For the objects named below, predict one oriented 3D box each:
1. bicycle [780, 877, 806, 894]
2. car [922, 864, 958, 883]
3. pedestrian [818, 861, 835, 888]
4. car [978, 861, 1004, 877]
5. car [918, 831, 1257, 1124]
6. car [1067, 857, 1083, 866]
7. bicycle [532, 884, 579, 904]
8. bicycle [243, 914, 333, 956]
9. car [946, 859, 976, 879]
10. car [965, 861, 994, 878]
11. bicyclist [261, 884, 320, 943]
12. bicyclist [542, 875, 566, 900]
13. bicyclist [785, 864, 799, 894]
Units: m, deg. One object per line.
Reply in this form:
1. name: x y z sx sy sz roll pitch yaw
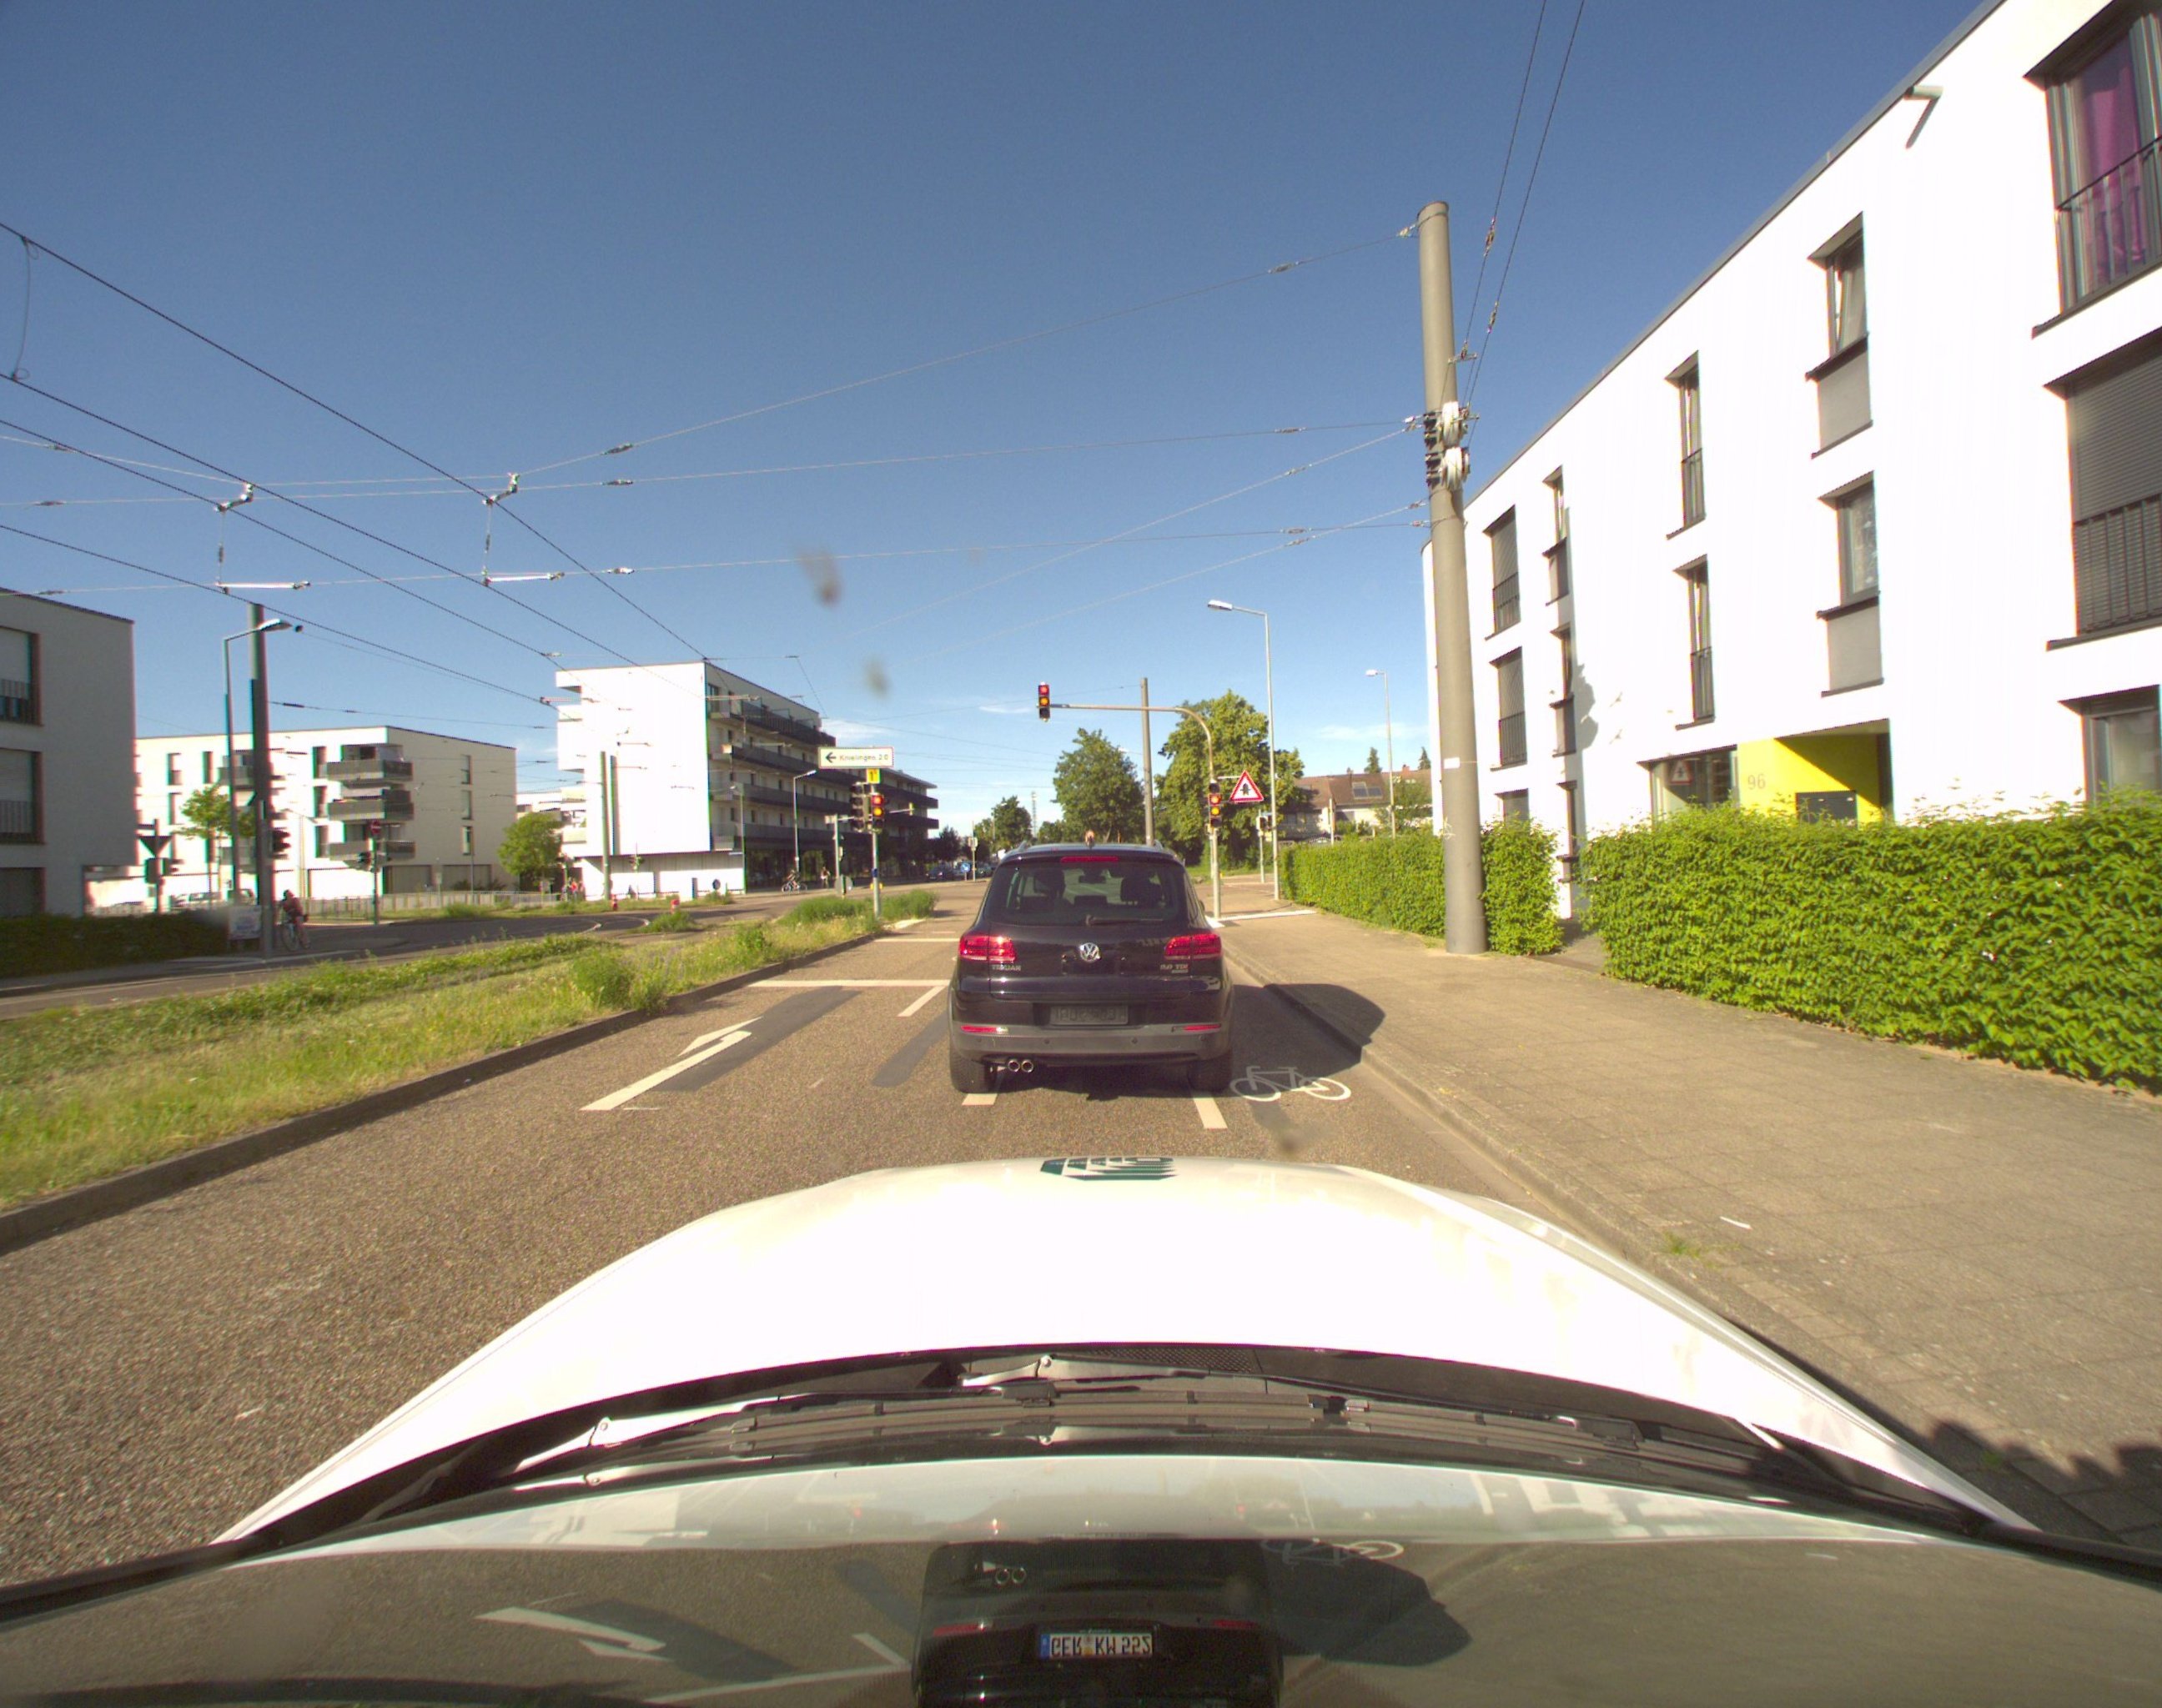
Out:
1. bicycle: -20.279 2.216 57.336 1.644 1.144 0.739 -3 -1 -23
2. car: -12.365 1.683 71.653 1.685 1.456 4.465 -3 0 10
3. pedestrian: -19.265 1.553 61.650 0.974 2.013 0.760 -3 -1 -1
4. car: -9.944 1.622 89.918 1.958 1.534 4.745 -3 0 4
5. car: 0.060 0.713 6.879 1.923 1.654 4.514 0 0 0
6. car: -1.096 1.303 141.788 1.981 1.571 4.011 -3 0 10
7. bicycle: -35.221 2.665 54.627 0.895 1.198 2.834 -3 0 11
8. bicycle: -21.283 2.139 21.922 0.904 0.892 2.464 -2 0 -24
9. car: -11.582 1.414 78.688 1.985 1.755 4.365 -2 0 3
10. car: -10.412 1.594 83.970 1.982 1.487 3.552 -5 0 8
11. bicyclist: -21.356 1.584 22.020 0.893 1.490 0.740 -2 -1 -25
12. bicyclist: -35.269 2.213 54.538 0.887 1.592 0.916 -3 -1 10
13. bicyclist: -20.354 1.757 57.310 0.796 2.013 0.805 -2 -1 -22
